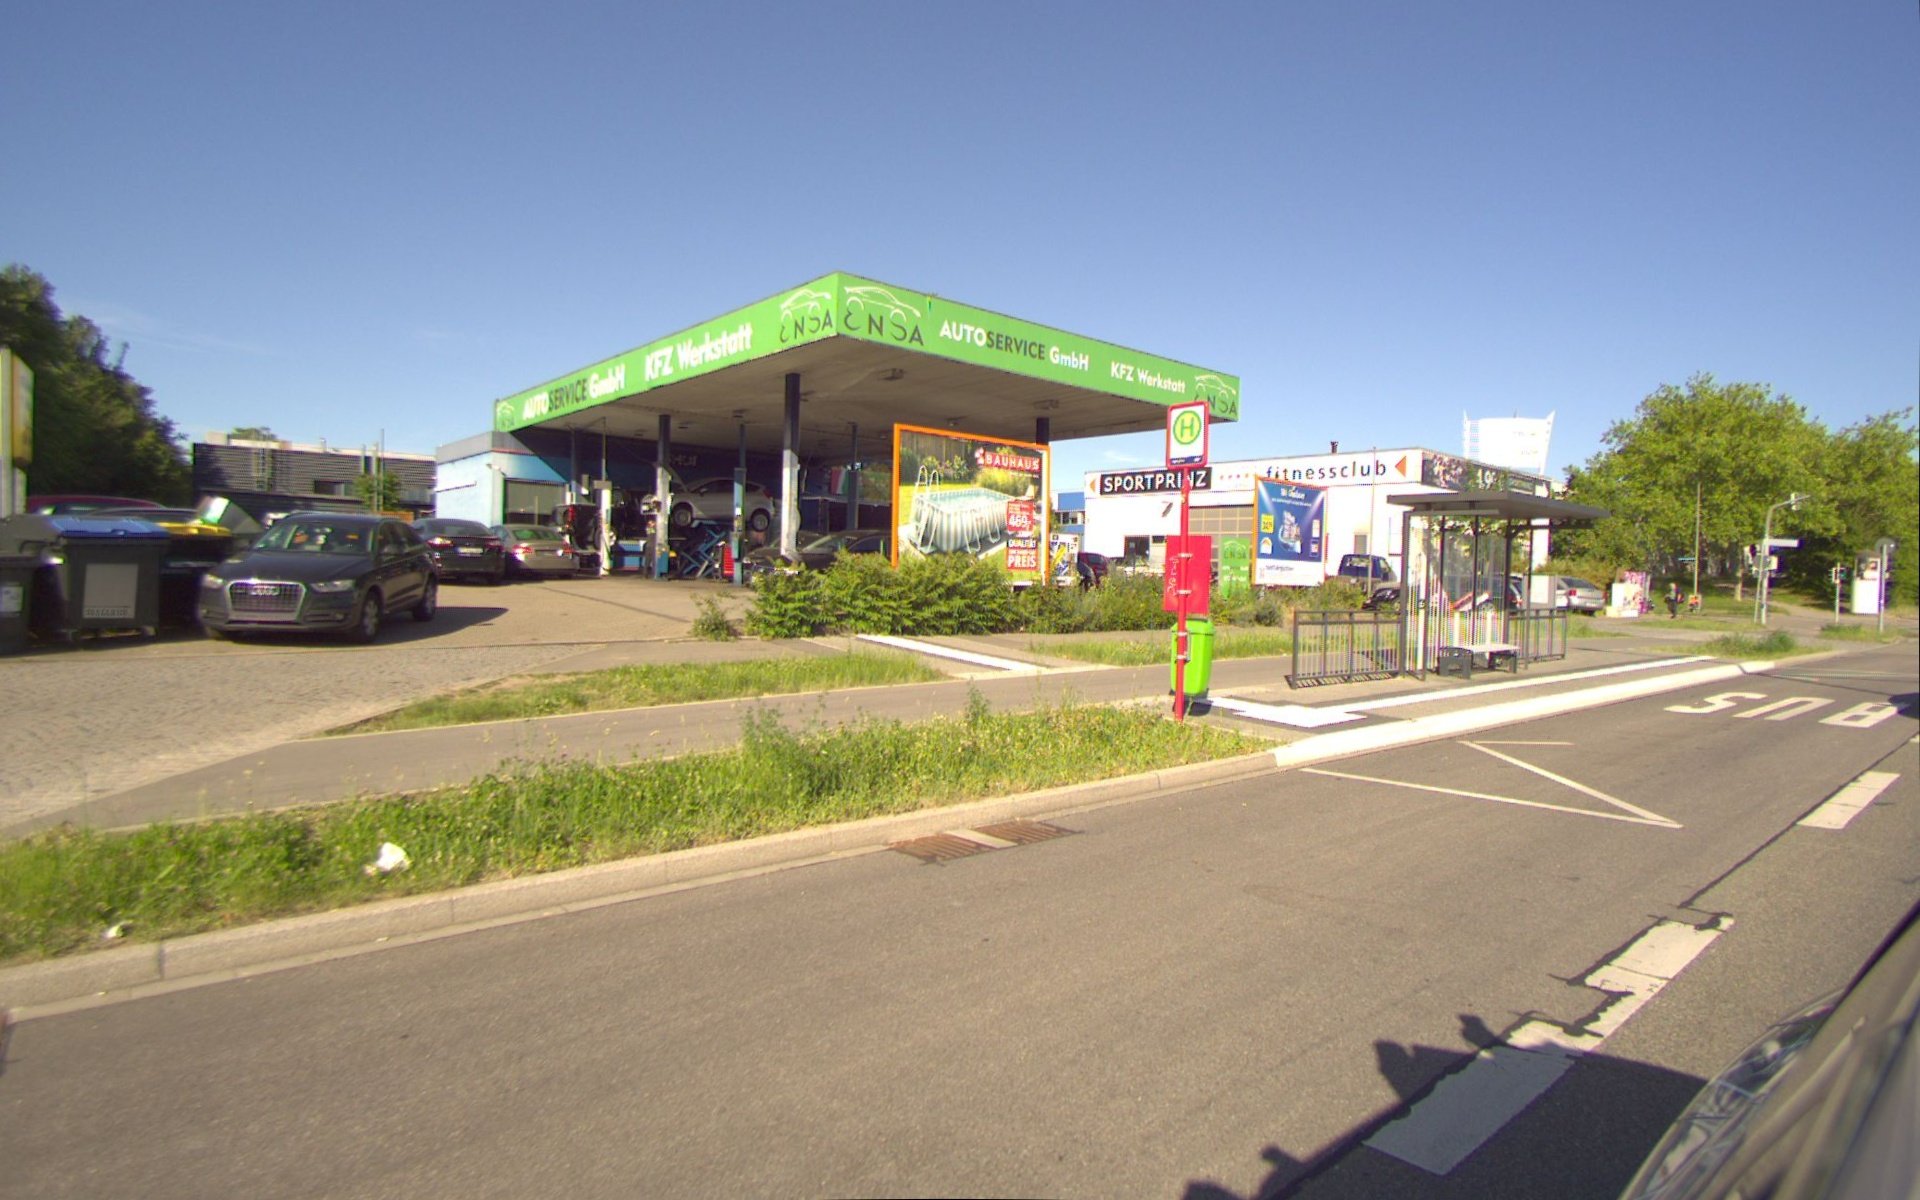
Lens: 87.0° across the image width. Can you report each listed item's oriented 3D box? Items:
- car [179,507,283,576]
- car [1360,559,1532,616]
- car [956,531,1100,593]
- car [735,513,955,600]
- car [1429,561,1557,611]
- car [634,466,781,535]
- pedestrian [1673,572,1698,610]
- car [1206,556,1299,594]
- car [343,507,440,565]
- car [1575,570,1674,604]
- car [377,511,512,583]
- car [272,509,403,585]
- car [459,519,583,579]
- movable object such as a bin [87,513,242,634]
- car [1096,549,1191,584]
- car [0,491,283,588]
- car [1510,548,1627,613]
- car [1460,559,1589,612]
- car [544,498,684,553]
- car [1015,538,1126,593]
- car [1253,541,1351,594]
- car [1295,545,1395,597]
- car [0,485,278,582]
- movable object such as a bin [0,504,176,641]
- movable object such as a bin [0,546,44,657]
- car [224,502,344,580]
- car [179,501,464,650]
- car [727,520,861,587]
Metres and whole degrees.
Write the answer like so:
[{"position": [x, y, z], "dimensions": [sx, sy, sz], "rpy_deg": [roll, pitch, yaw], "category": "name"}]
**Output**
[{"position": [-21.109, -1.627, 29.242], "dimensions": [1.967, 1.805, 3.991], "rpy_deg": [0, 1, -43], "category": "car"}, {"position": [16.270, -0.445, 34.077], "dimensions": [4.748, 1.549, 1.900], "rpy_deg": [3, 3, 3], "category": "car"}, {"position": [2.009, -1.051, 29.376], "dimensions": [3.930, 1.668, 1.997], "rpy_deg": [0, 1, -41], "category": "car"}, {"position": [-2.262, -0.820, 20.528], "dimensions": [4.173, 1.592, 1.748], "rpy_deg": [0, 1, -40], "category": "car"}, {"position": [19.547, -0.551, 37.217], "dimensions": [1.808, 1.304, 3.621], "rpy_deg": [-1, 10, -39], "category": "car"}, {"position": [-7.340, -2.836, 29.520], "dimensions": [3.711, 1.776, 1.923], "rpy_deg": [-1, 3, -40], "category": "car"}, {"position": [33.856, -0.423, 47.236], "dimensions": [0.607, 1.737, 0.759], "rpy_deg": [0, 2, -40], "category": "pedestrian"}, {"position": [12.239, -1.082, 42.224], "dimensions": [4.147, 1.266, 1.771], "rpy_deg": [-4, 10, -43], "category": "car"}, {"position": [-19.982, -2.183, 35.504], "dimensions": [1.967, 1.805, 4.514], "rpy_deg": [0, 1, -43], "category": "car"}, {"position": [40.372, -0.836, 61.593], "dimensions": [1.839, 1.958, 4.692], "rpy_deg": [0, 2, -39], "category": "car"}, {"position": [-12.039, -1.237, 23.527], "dimensions": [1.707, 1.535, 3.991], "rpy_deg": [-1, 3, -44], "category": "car"}, {"position": [-13.823, -1.176, 22.391], "dimensions": [1.670, 1.535, 3.991], "rpy_deg": [-1, 3, -44], "category": "car"}, {"position": [-11.533, -1.343, 26.473], "dimensions": [1.684, 1.434, 3.991], "rpy_deg": [-1, 3, -44], "category": "car"}, {"position": [-10.081, -0.337, 12.877], "dimensions": [0.972, 1.446, 1.222], "rpy_deg": [1, 1, 7], "category": "movable object such as a bin"}, {"position": [8.865, -1.641, 49.095], "dimensions": [1.959, 1.425, 4.213], "rpy_deg": [0, 4, -41], "category": "car"}, {"position": [-13.979, -0.954, 17.310], "dimensions": [3.847, 1.482, 1.727], "rpy_deg": [0, 1, -41], "category": "car"}, {"position": [24.529, -0.846, 40.989], "dimensions": [1.652, 2.035, 4.013], "rpy_deg": [5, 7, -9], "category": "car"}, {"position": [21.887, -0.601, 39.374], "dimensions": [1.690, 1.468, 3.944], "rpy_deg": [1, 8, -29], "category": "car"}, {"position": [-10.494, -2.229, 30.768], "dimensions": [3.563, 1.495, 1.923], "rpy_deg": [-1, 3, -40], "category": "car"}, {"position": [4.028, -1.320, 37.323], "dimensions": [1.817, 1.564, 3.775], "rpy_deg": [-3, 10, -41], "category": "car"}, {"position": [13.733, -1.308, 40.554], "dimensions": [4.146, 1.883, 1.897], "rpy_deg": [-1, 6, -43], "category": "car"}, {"position": [14.937, -1.114, 39.140], "dimensions": [4.519, 1.803, 1.686], "rpy_deg": [-1, 6, -43], "category": "car"}, {"position": [-15.326, -1.154, 18.970], "dimensions": [4.063, 1.627, 1.716], "rpy_deg": [0, 1, -41], "category": "car"}, {"position": [-9.868, -0.306, 11.451], "dimensions": [0.972, 1.446, 1.258], "rpy_deg": [1, 1, 7], "category": "movable object such as a bin"}, {"position": [-10.068, 0.003, 10.555], "dimensions": [0.572, 1.135, 0.509], "rpy_deg": [1, 1, 8], "category": "movable object such as a bin"}, {"position": [-17.448, -1.437, 26.066], "dimensions": [1.967, 1.805, 3.991], "rpy_deg": [0, 1, -43], "category": "car"}, {"position": [-8.458, -0.429, 13.927], "dimensions": [1.764, 1.659, 4.572], "rpy_deg": [2, 4, -11], "category": "car"}, {"position": [-4.011, -1.083, 25.160], "dimensions": [1.970, 1.504, 3.985], "rpy_deg": [0, 1, 13], "category": "car"}]
